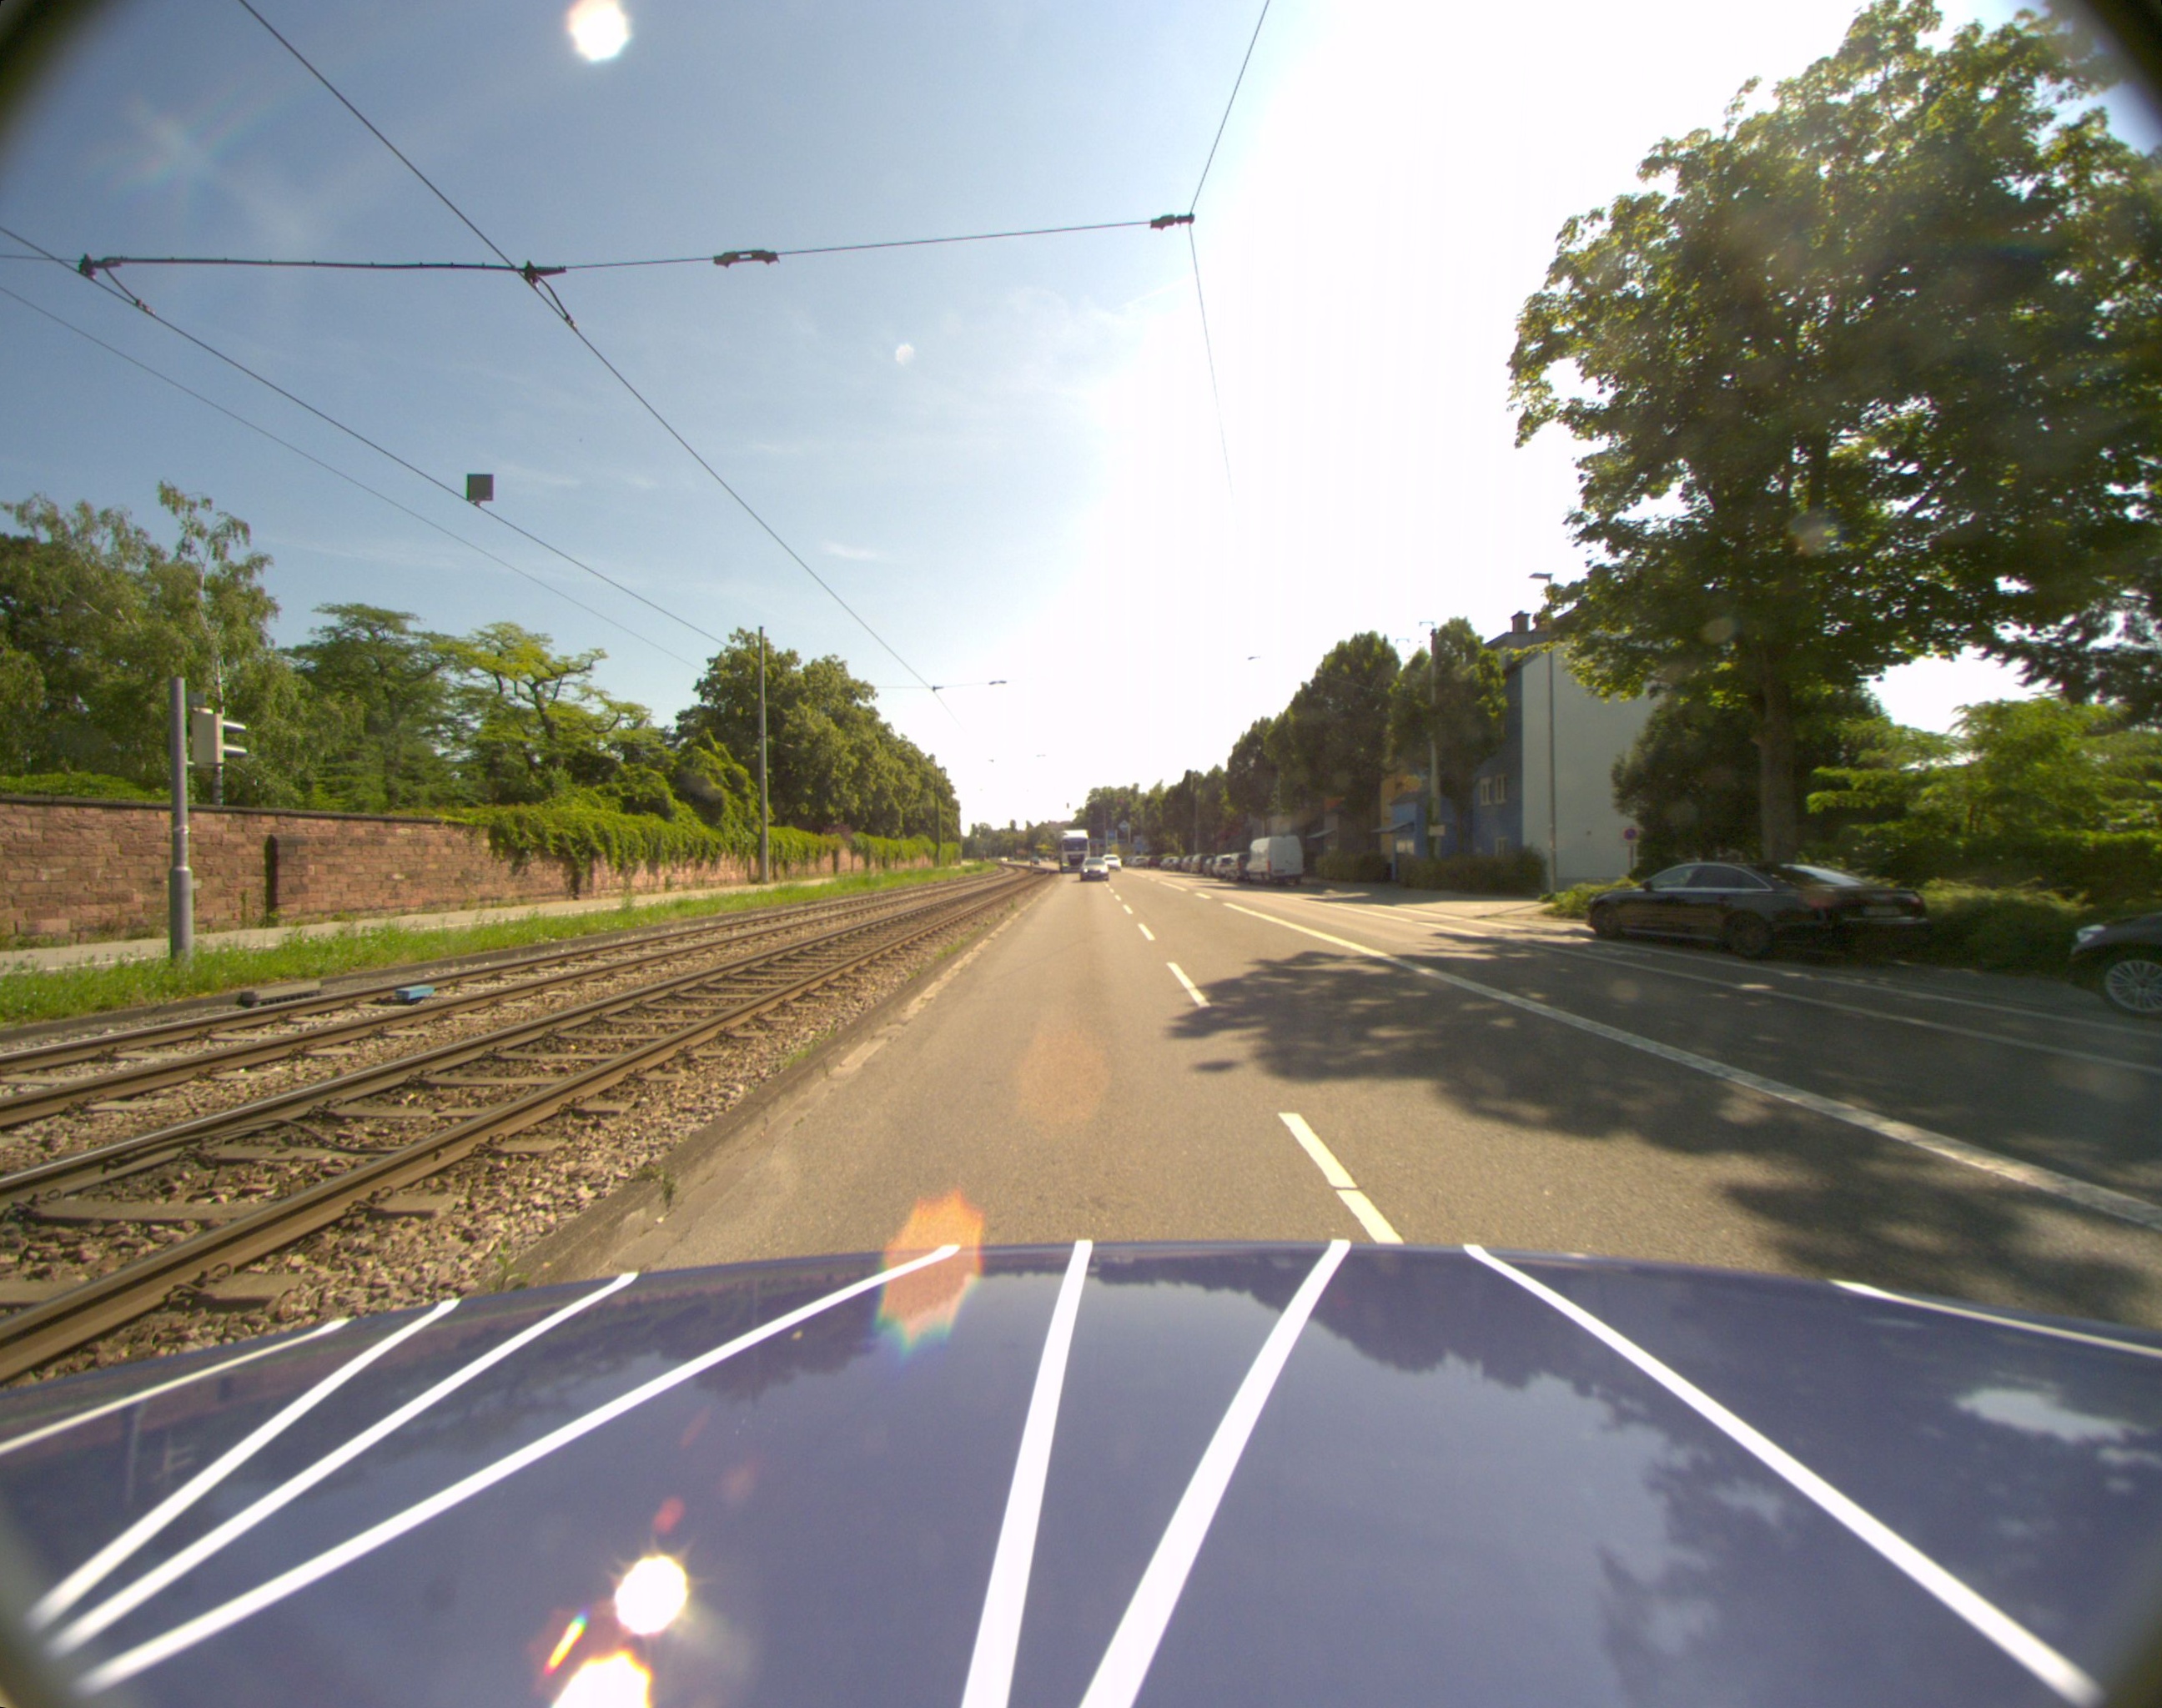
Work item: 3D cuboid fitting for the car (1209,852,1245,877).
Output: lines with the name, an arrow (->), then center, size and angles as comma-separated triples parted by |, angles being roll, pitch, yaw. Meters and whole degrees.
car -> 10.947, 0.750, 57.295 | 1.853, 1.693, 4.540 | -4, 1, 1

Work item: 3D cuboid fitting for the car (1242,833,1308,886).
car -> 11.005, 0.304, 43.611 | 1.998, 2.661, 7.086 | -4, 0, 1

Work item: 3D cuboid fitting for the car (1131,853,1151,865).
car -> 8.255, 0.707, 105.039 | 2.040, 1.490, 4.130 | -2, 1, -6

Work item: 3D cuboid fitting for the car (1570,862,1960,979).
car -> 10.585, 0.901, 12.448 | 1.845, 1.457, 4.909 | 0, 0, -3

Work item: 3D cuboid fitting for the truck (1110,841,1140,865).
truck -> 6.670, -0.216, 117.139 | 3.165, 3.533, 8.779 | 0, 0, -6

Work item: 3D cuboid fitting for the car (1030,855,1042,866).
car -> -7.904, 1.107, 133.095 | 1.854, 1.707, 3.997 | -2, 1, -5

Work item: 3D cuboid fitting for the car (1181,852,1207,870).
car -> 10.801, 0.648, 72.764 | 1.681, 1.598, 4.164 | -2, 1, -3

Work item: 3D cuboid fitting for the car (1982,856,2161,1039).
car -> 10.555, 0.847, 5.715 | 1.766, 1.596, 4.893 | -1, 0, 0

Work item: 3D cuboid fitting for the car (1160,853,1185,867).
car -> 10.289, 0.647, 85.850 | 1.682, 1.437, 4.835 | -2, 1, -6

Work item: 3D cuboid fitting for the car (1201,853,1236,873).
car -> 11.204, 0.709, 62.339 | 1.871, 1.447, 4.074 | -4, 1, -3

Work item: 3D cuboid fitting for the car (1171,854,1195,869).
car -> 10.575, 0.778, 78.996 | 1.681, 1.462, 4.212 | -2, 1, -4

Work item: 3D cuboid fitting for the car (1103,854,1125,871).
car -> 3.140, 0.761, 72.854 | 1.785, 1.538, 4.393 | -2, 0, -1

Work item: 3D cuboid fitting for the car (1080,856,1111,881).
car -> 0.882, 0.860, 46.784 | 1.747, 1.421, 5.041 | -1, 0, 1

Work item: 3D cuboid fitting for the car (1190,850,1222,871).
car -> 11.086, 0.555, 67.673 | 1.834, 1.718, 4.348 | -3, 1, -3

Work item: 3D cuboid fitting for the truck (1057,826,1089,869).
truck -> -0.679, -0.589, 74.639 | 2.805, 3.926, 11.943 | 0, 0, 1

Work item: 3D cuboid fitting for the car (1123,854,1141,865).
car -> 7.361, 0.799, 109.412 | 1.915, 1.469, 4.213 | -2, 1, -6

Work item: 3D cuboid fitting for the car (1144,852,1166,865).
car -> 9.451, 0.558, 97.337 | 1.911, 1.567, 4.929 | -2, 1, -6

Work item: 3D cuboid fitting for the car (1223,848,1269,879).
car -> 11.123, 0.640, 51.653 | 1.998, 1.855, 4.966 | -5, 0, 1
